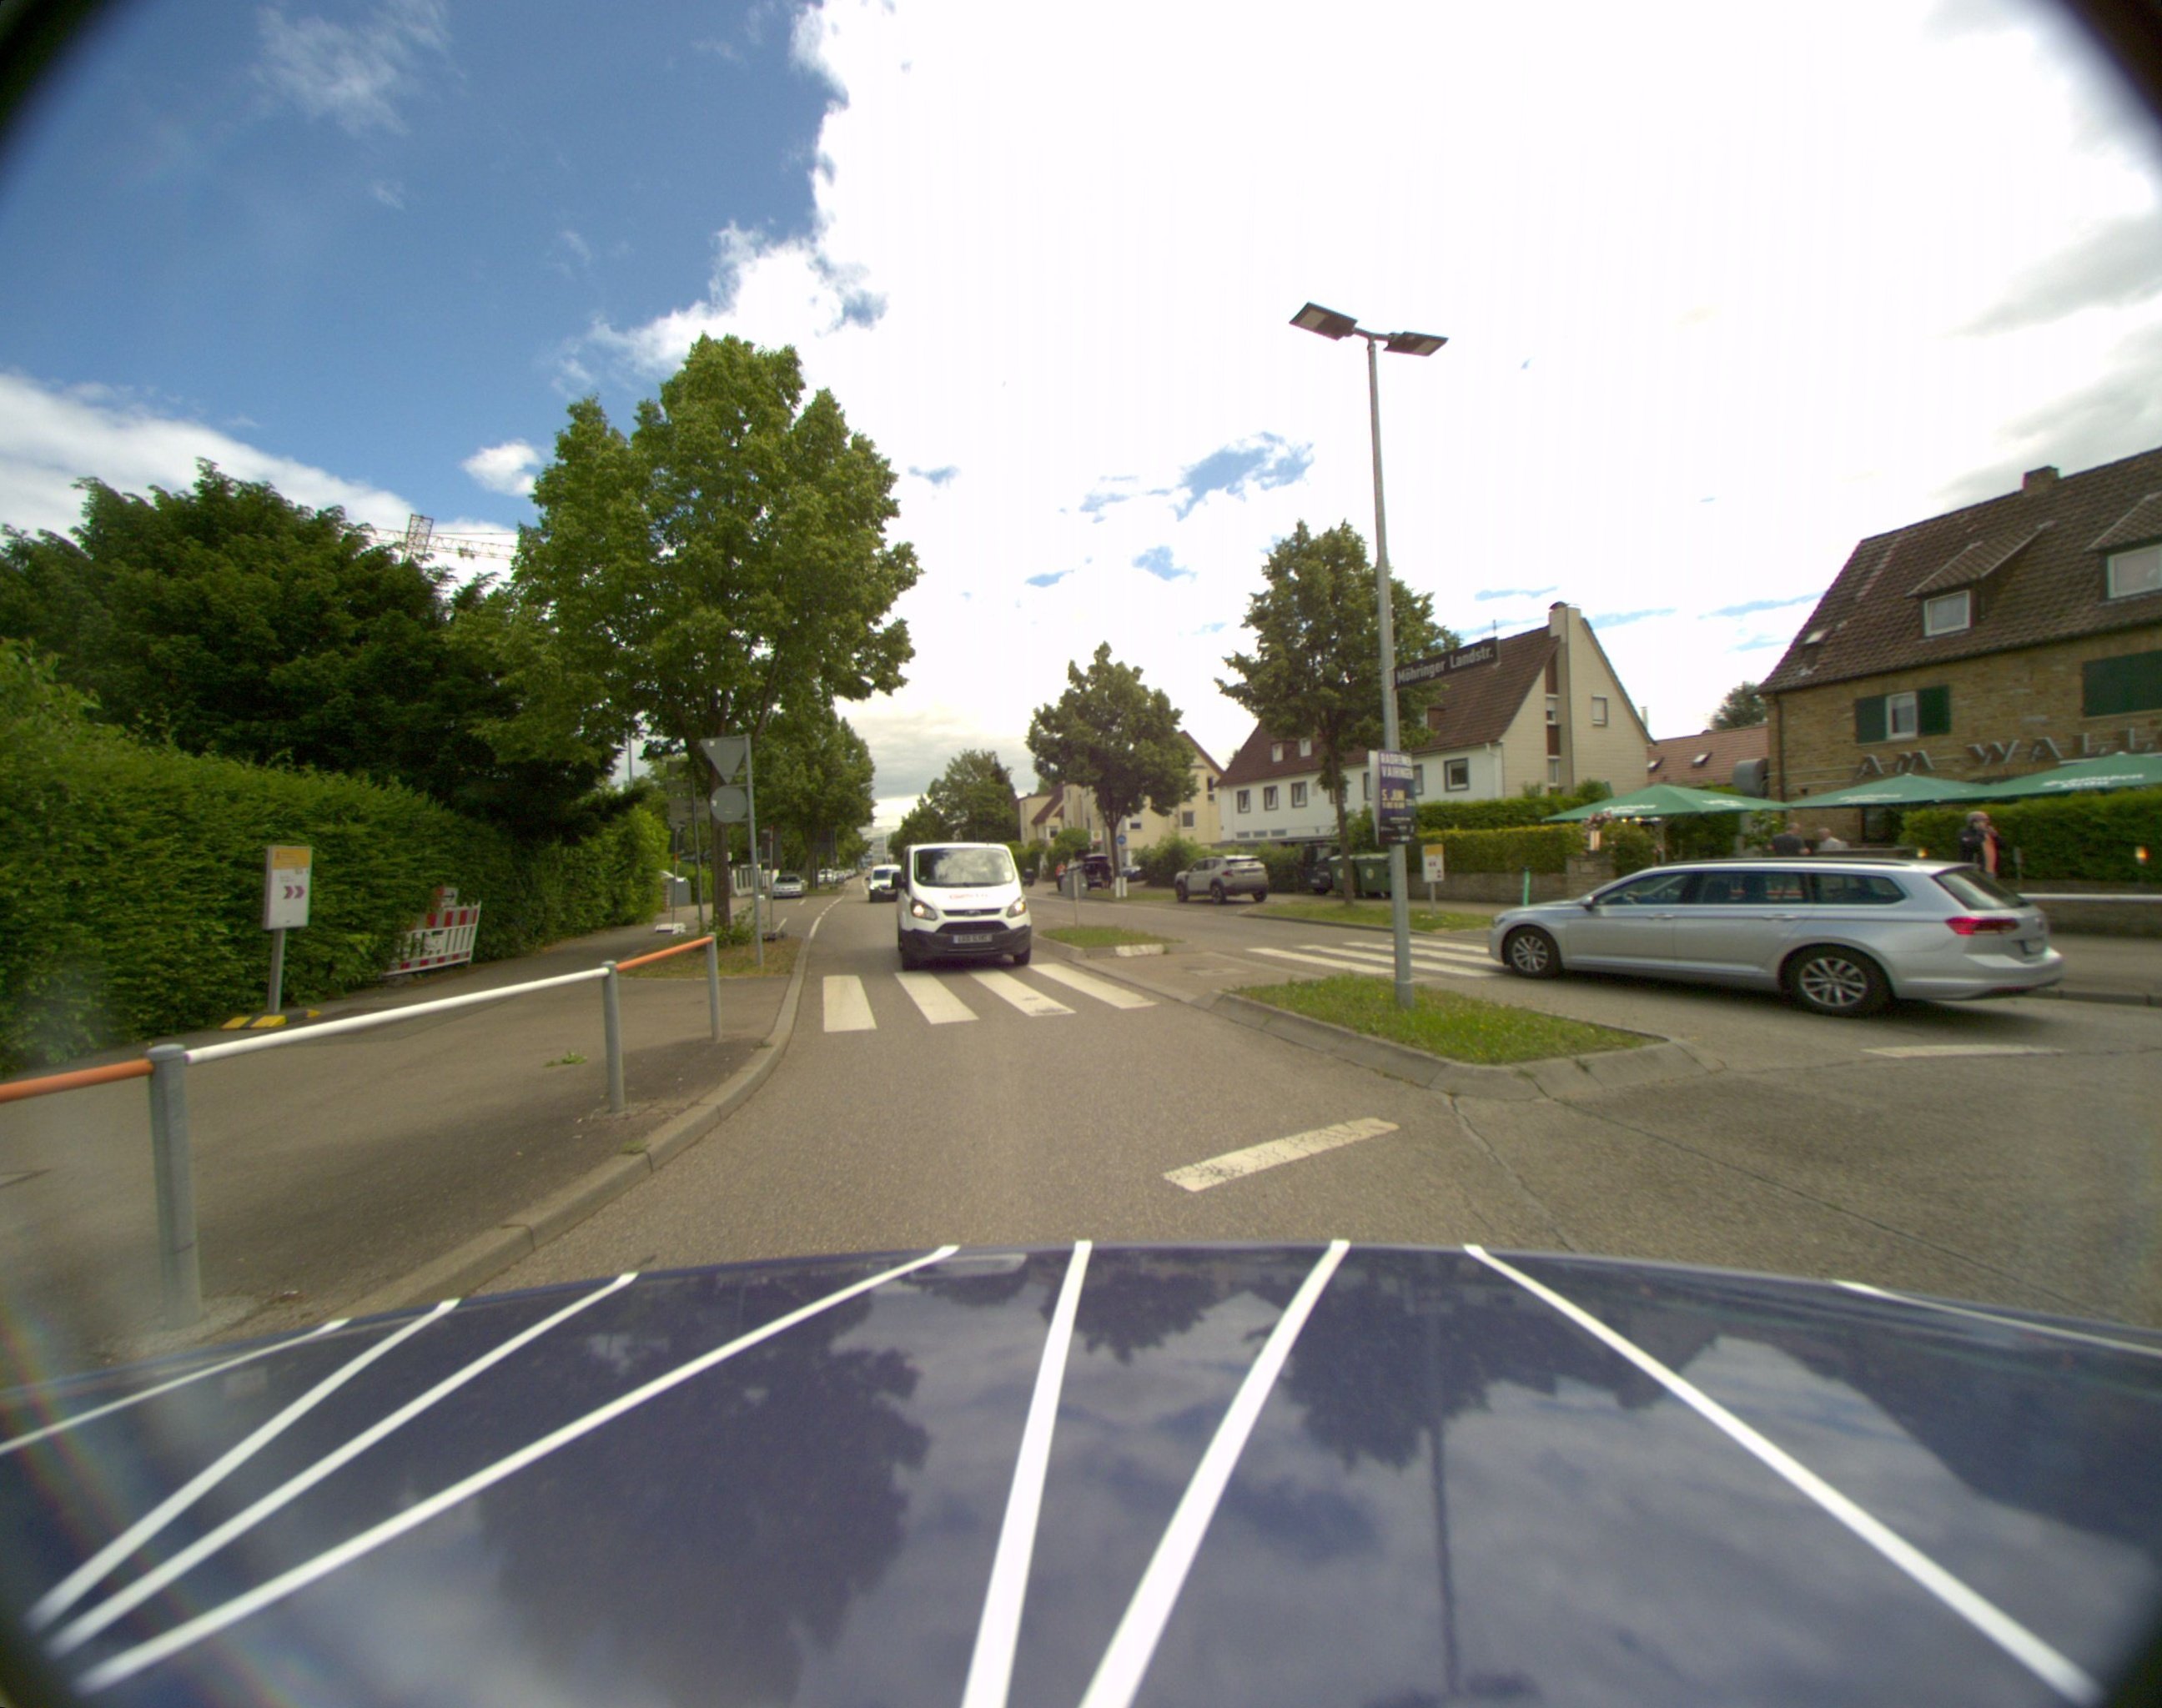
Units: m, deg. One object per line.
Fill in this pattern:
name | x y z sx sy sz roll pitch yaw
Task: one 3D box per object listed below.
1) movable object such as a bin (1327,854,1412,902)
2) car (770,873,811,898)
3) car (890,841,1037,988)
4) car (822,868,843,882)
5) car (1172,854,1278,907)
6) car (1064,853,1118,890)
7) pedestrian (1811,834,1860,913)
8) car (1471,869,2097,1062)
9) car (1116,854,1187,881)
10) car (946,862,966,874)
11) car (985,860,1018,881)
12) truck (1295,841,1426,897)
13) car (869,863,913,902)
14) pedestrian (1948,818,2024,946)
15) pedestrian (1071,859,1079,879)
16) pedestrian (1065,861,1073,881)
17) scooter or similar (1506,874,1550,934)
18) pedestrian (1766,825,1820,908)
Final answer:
movable object such as a bin | 9.297 0.760 24.636 0.985 1.408 2.718 -2 0 -20
car | -17.199 1.831 45.126 1.813 1.334 3.995 -2 0 -15
car | -2.167 0.866 13.302 2.000 2.002 5.045 -2 0 -12
car | -26.531 2.217 81.203 1.813 1.334 3.995 -2 0 -15
car | 4.927 0.882 26.583 1.754 1.626 4.041 -2 0 -20
car | 0.480 0.928 41.033 1.753 1.819 4.042 -2 0 -16
pedestrian | 16.851 0.432 16.976 0.489 1.717 0.567 -2 0 -1
car | 7.029 0.917 8.329 1.810 1.446 4.682 -1 -1 -28
car | 4.458 0.855 48.028 4.052 1.530 1.749 -2 0 -23
car | -13.310 1.520 80.796 1.606 1.220 3.189 -2 0 -20
car | -6.598 1.347 62.424 1.764 1.552 3.740 -2 0 -21
truck | 10.506 0.535 28.580 4.505 1.839 1.862 -2 0 -23
car | -9.425 1.334 37.590 1.929 1.744 3.995 -2 0 -15
pedestrian | 13.420 0.405 11.268 0.638 1.816 0.565 -3 1 -29
pedestrian | -0.412 1.025 51.263 0.387 1.357 0.412 -2 0 -16
pedestrian | -0.834 1.134 51.936 0.387 1.357 0.412 -2 0 -16
scooter or similar | 8.961 0.982 15.226 1.050 1.124 0.380 -2 0 -39
pedestrian | 16.048 0.283 17.133 0.637 1.816 0.567 -2 0 -1
